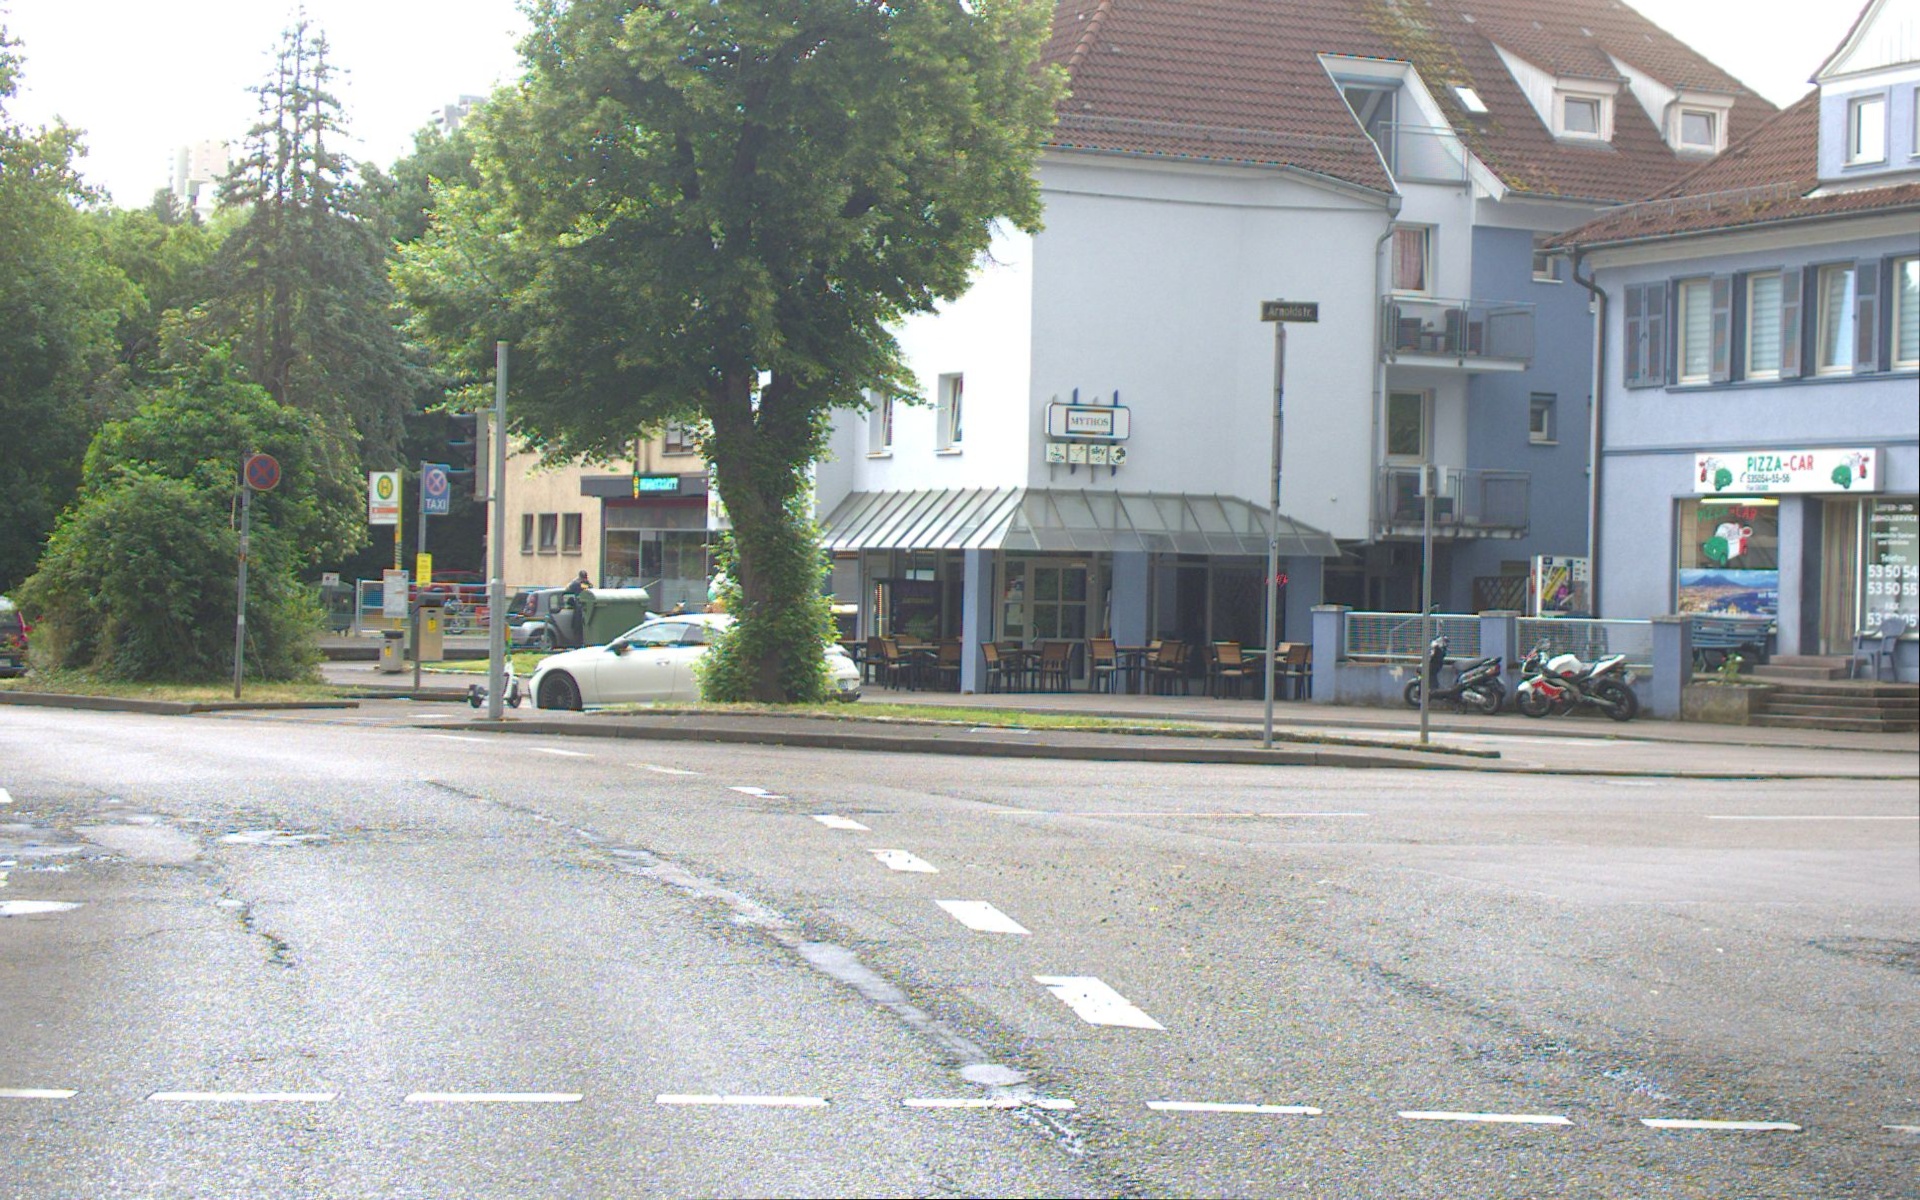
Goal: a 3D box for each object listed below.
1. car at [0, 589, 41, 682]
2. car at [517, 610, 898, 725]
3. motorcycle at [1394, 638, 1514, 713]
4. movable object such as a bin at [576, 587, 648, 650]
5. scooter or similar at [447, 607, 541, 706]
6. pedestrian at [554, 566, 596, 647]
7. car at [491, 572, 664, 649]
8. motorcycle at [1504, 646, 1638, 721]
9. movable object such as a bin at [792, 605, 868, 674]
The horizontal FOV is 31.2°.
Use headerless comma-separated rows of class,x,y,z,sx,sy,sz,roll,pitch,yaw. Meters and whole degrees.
car,-16.092,0.488,53.137,3.489,1.399,1.571,2,1,28
car,-3.340,0.849,45.064,4.782,1.382,1.996,1,0,35
motorcycle,7.115,1.084,49.561,1.724,1.028,0.488,1,0,43
movable object such as a bin,-7.431,0.390,73.362,1.216,1.340,0.995,1,0,-31
scooter or similar,-5.701,0.701,42.121,0.412,1.163,1.360,1,-2,26
pedestrian,-8.302,0.138,74.181,0.687,1.723,0.611,1,0,-31
car,-8.389,0.232,75.337,3.412,1.625,1.625,1,0,-25
motorcycle,8.467,1.153,47.689,1.822,0.982,0.520,1,0,43
movable object such as a bin,-2.654,0.800,69.836,1.214,1.390,1.161,1,0,-21
